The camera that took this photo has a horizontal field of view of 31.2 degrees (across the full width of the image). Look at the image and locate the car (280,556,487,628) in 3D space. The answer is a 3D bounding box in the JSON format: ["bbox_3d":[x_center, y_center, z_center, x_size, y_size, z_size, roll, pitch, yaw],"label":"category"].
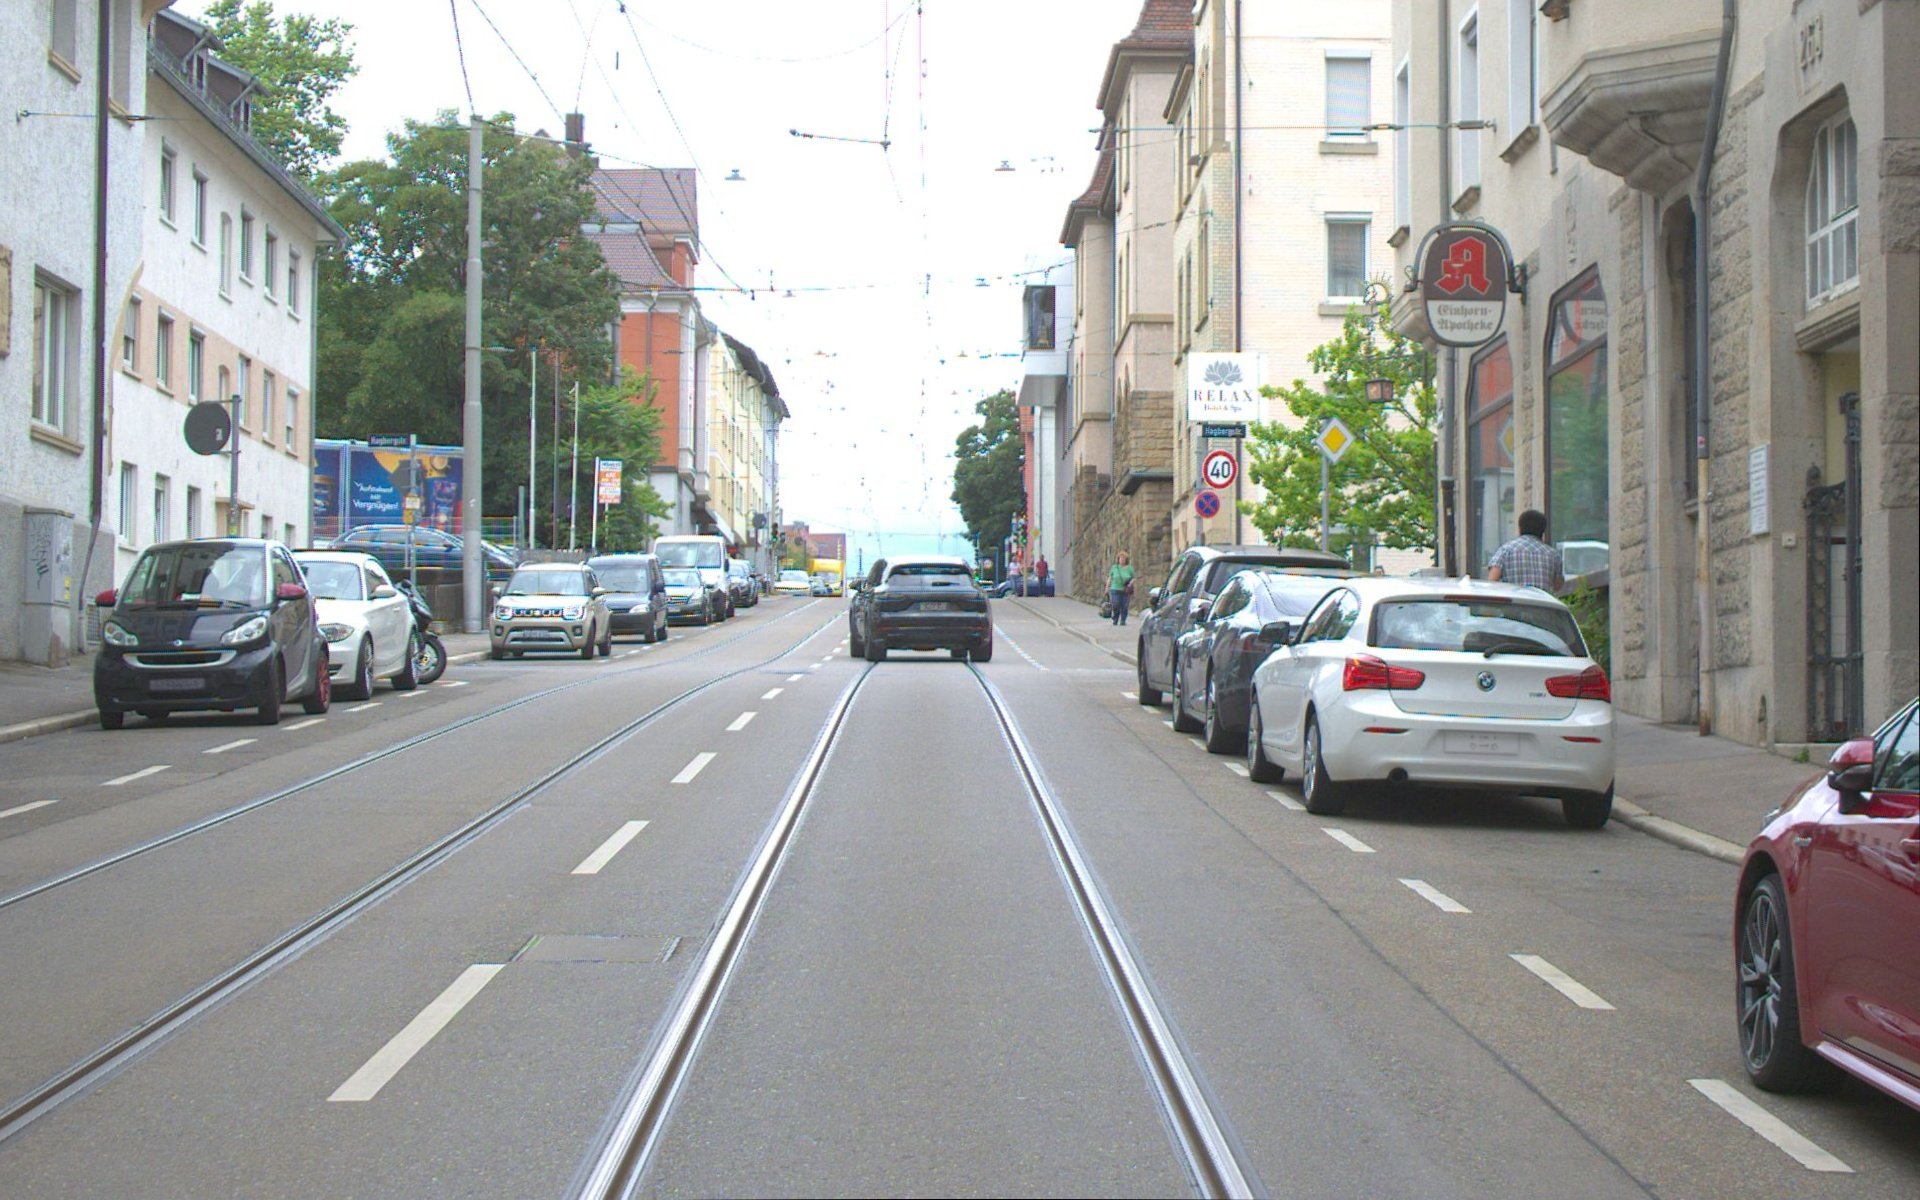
[{"bbox_3d":[-13.064,-0.184,78.051,4.338,1.341,1.861,-4,1,-1],"label":"car"}]

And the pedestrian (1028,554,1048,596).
[{"bbox_3d":[3.133,-1.013,137.832,0.791,1.661,0.798,1,1,2],"label":"pedestrian"}]

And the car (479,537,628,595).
[{"bbox_3d":[-11.456,-0.958,96.820,3.958,1.546,1.689,1,1,-15],"label":"car"}]

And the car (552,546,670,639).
[{"bbox_3d":[-6.834,-0.166,67.706,1.744,1.730,4.519,-1,1,1],"label":"car"}]

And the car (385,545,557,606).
[{"bbox_3d":[-12.205,-0.612,85.931,4.060,1.440,1.688,1,1,-1],"label":"car"}]

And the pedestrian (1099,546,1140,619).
[{"bbox_3d":[3.727,-0.405,80.572,0.870,1.680,0.663,-1,0,-2],"label":"pedestrian"}]

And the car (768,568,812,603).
[{"bbox_3d":[-7.947,-0.694,161.046,1.855,1.601,4.297,1,1,-1],"label":"car"}]

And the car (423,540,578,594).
[{"bbox_3d":[-12.109,-0.879,90.725,3.876,1.352,1.688,1,1,-1],"label":"car"}]

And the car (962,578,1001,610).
[{"bbox_3d":[1.100,-0.319,179.278,1.993,1.558,4.290,1,1,0],"label":"car"}]

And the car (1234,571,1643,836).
[{"bbox_3d":[2.850,0.560,21.376,1.750,1.386,4.308,3,1,-2],"label":"car"}]

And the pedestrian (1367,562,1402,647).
[{"bbox_3d":[8.014,0.078,64.936,0.558,1.577,0.686,1,0,0],"label":"pedestrian"}]

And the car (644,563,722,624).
[{"bbox_3d":[-6.890,-0.181,85.870,1.697,1.428,4.482,-1,1,-2],"label":"car"}]

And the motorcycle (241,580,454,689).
[{"bbox_3d":[-6.608,0.369,37.123,2.110,1.130,0.766,-1,1,13],"label":"motorcycle"}]

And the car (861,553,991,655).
[{"bbox_3d":[-0.524,0.038,55.218,1.993,1.558,4.290,1,1,0],"label":"car"}]

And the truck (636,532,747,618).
[{"bbox_3d":[-7.184,-0.701,92.815,2.280,2.180,8.025,1,1,0],"label":"truck"}]

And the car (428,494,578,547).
[{"bbox_3d":[-12.396,-2.154,93.382,3.876,1.352,1.688,1,1,-1],"label":"car"}]

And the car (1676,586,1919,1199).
[{"bbox_3d":[3.162,0.758,8.314,1.779,1.470,4.590,3,1,-1],"label":"car"}]

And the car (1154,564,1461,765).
[{"bbox_3d":[2.674,0.447,27.489,1.779,1.386,4.692,3,1,-2],"label":"car"}]

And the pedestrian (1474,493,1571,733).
[{"bbox_3d":[4.275,0.098,26.159,0.599,1.797,0.632,1,0,-1],"label":"pedestrian"}]

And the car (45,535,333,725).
[{"bbox_3d":[-6.391,0.222,28.782,1.697,1.463,3.023,-2,1,0],"label":"car"}]

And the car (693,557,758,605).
[{"bbox_3d":[-7.341,-0.605,107.931,1.712,1.441,4.290,1,1,0],"label":"car"}]

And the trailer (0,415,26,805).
[{"bbox_3d":[-6.168,0.112,17.325,1.748,2.148,4.071,-2,1,0],"label":"trailer"}]

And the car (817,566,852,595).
[{"bbox_3d":[-7.064,-1.099,193.738,1.855,1.601,4.297,1,1,-1],"label":"car"}]

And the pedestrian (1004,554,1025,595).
[{"bbox_3d":[2.182,-1.022,137.903,0.791,1.661,0.798,1,1,2],"label":"pedestrian"}]

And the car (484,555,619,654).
[{"bbox_3d":[-6.696,0.047,56.695,1.697,1.551,3.850,1,1,1],"label":"car"}]

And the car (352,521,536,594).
[{"bbox_3d":[-12.159,-0.994,81.211,4.060,1.547,1.688,2,1,-1],"label":"car"}]

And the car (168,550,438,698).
[{"bbox_3d":[-6.398,0.198,33.907,1.780,1.353,4.291,0,1,1],"label":"car"}]

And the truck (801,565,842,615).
[{"bbox_3d":[-8.572,-0.636,213.672,2.302,3.026,9.034,1,0,-1],"label":"truck"}]

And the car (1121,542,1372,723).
[{"bbox_3d":[2.658,0.260,32.842,1.735,1.532,4.575,3,1,-3],"label":"car"}]
